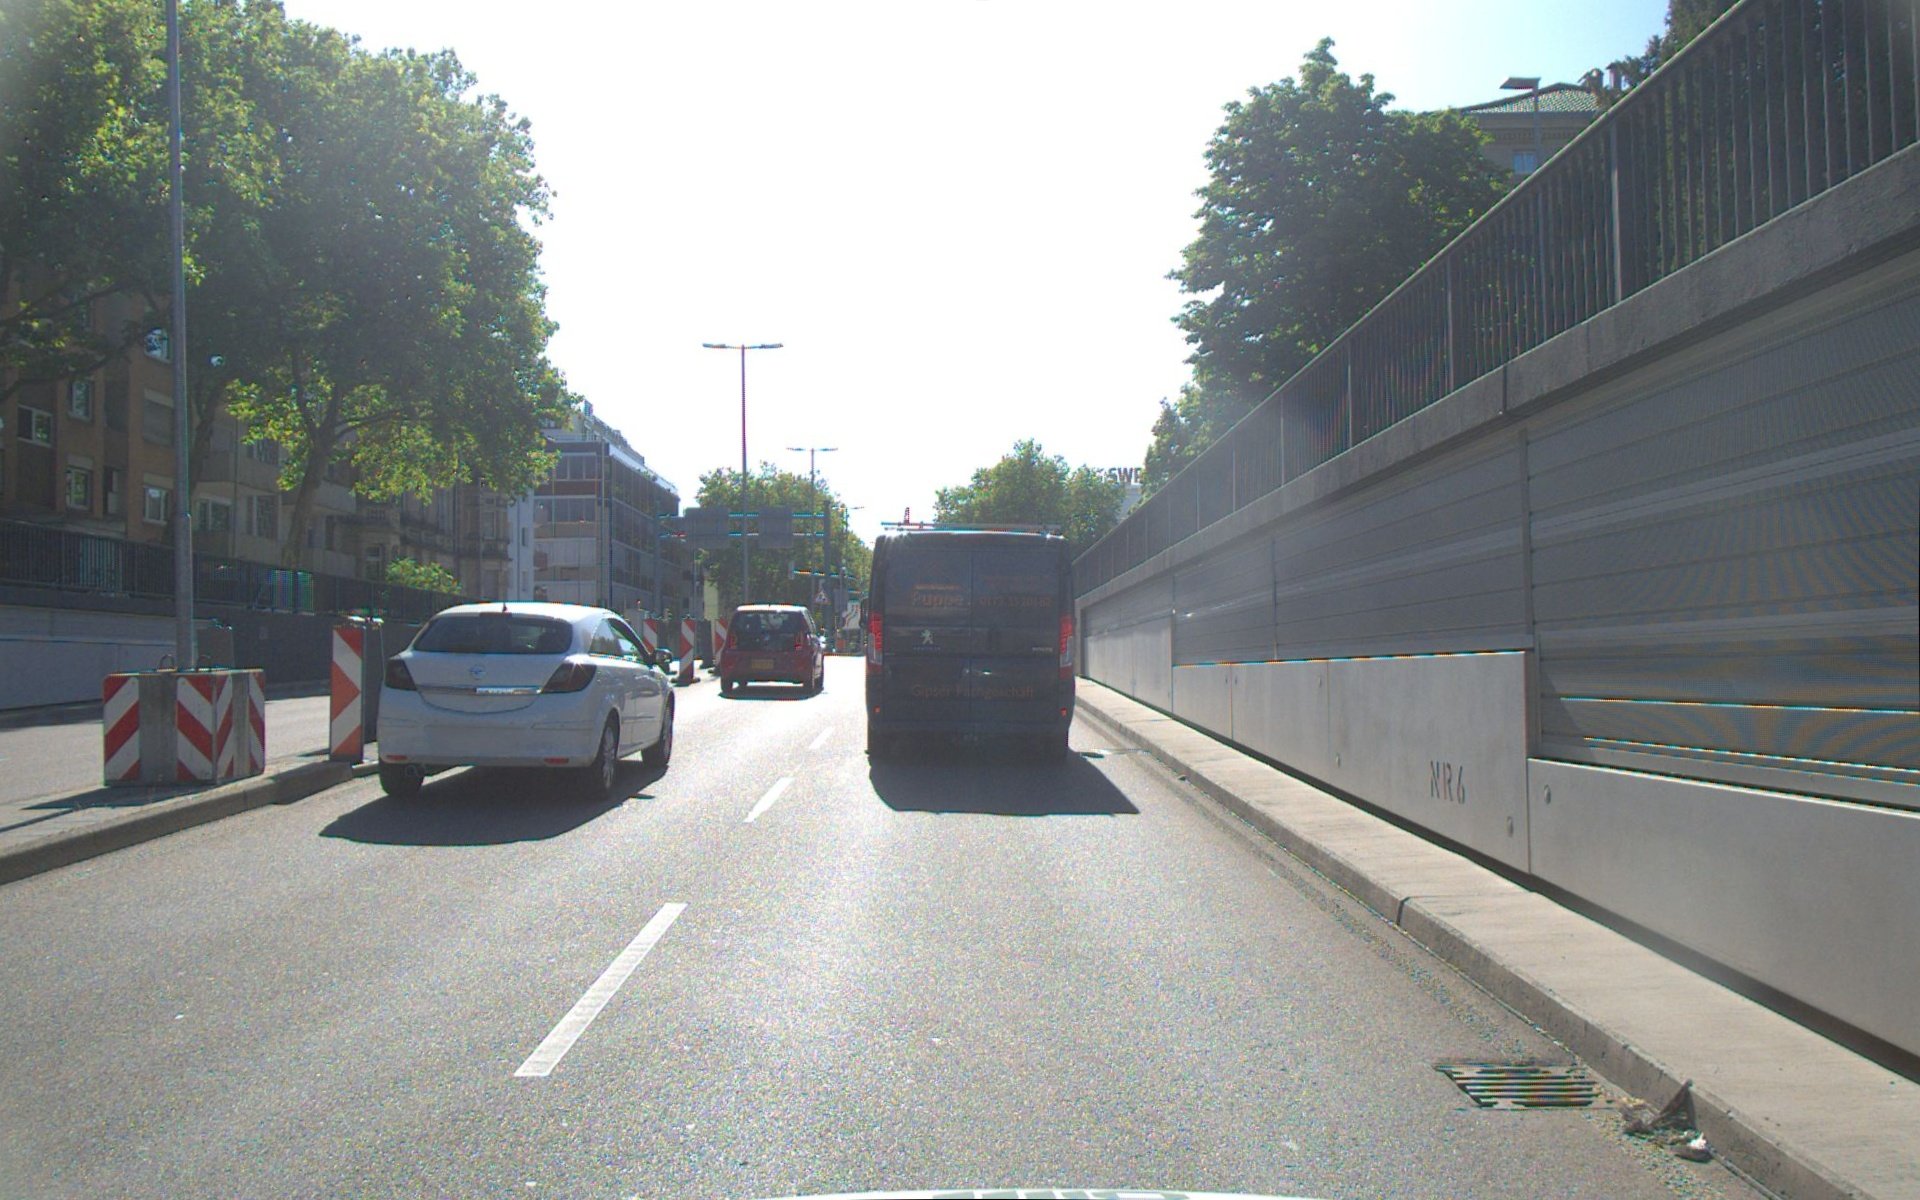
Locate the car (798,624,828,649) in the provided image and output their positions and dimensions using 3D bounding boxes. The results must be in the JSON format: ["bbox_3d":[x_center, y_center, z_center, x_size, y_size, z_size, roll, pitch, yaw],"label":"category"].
[{"bbox_3d":[-8.732,2.164,98.532,1.508,1.322,3.926,-3,-1,-1],"label":"car"}]

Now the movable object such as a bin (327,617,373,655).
[{"bbox_3d":[-23.612,1.415,64.064,1.253,1.427,1.301,1,-2,-1],"label":"movable object such as a bin"}]

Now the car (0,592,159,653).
[{"bbox_3d":[-22.099,0.602,41.521,1.953,1.413,4.171,1,-2,-1],"label":"car"}]

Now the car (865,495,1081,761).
[{"bbox_3d":[0.098,0.282,17.249,1.989,2.445,3.971,0,-1,-1],"label":"car"}]

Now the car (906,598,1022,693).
[{"bbox_3d":[0.062,0.737,28.709,1.853,1.500,3.990,1,0,0],"label":"car"}]

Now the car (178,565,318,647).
[{"bbox_3d":[-22.189,0.249,51.827,1.953,2.401,5.418,1,-2,0],"label":"car"}]

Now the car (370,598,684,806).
[{"bbox_3d":[-3.342,0.733,13.479,1.586,1.428,3.851,1,-1,-1],"label":"car"}]

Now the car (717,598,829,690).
[{"bbox_3d":[-3.248,0.763,29.298,1.655,1.509,3.317,1,-1,-1],"label":"car"}]
